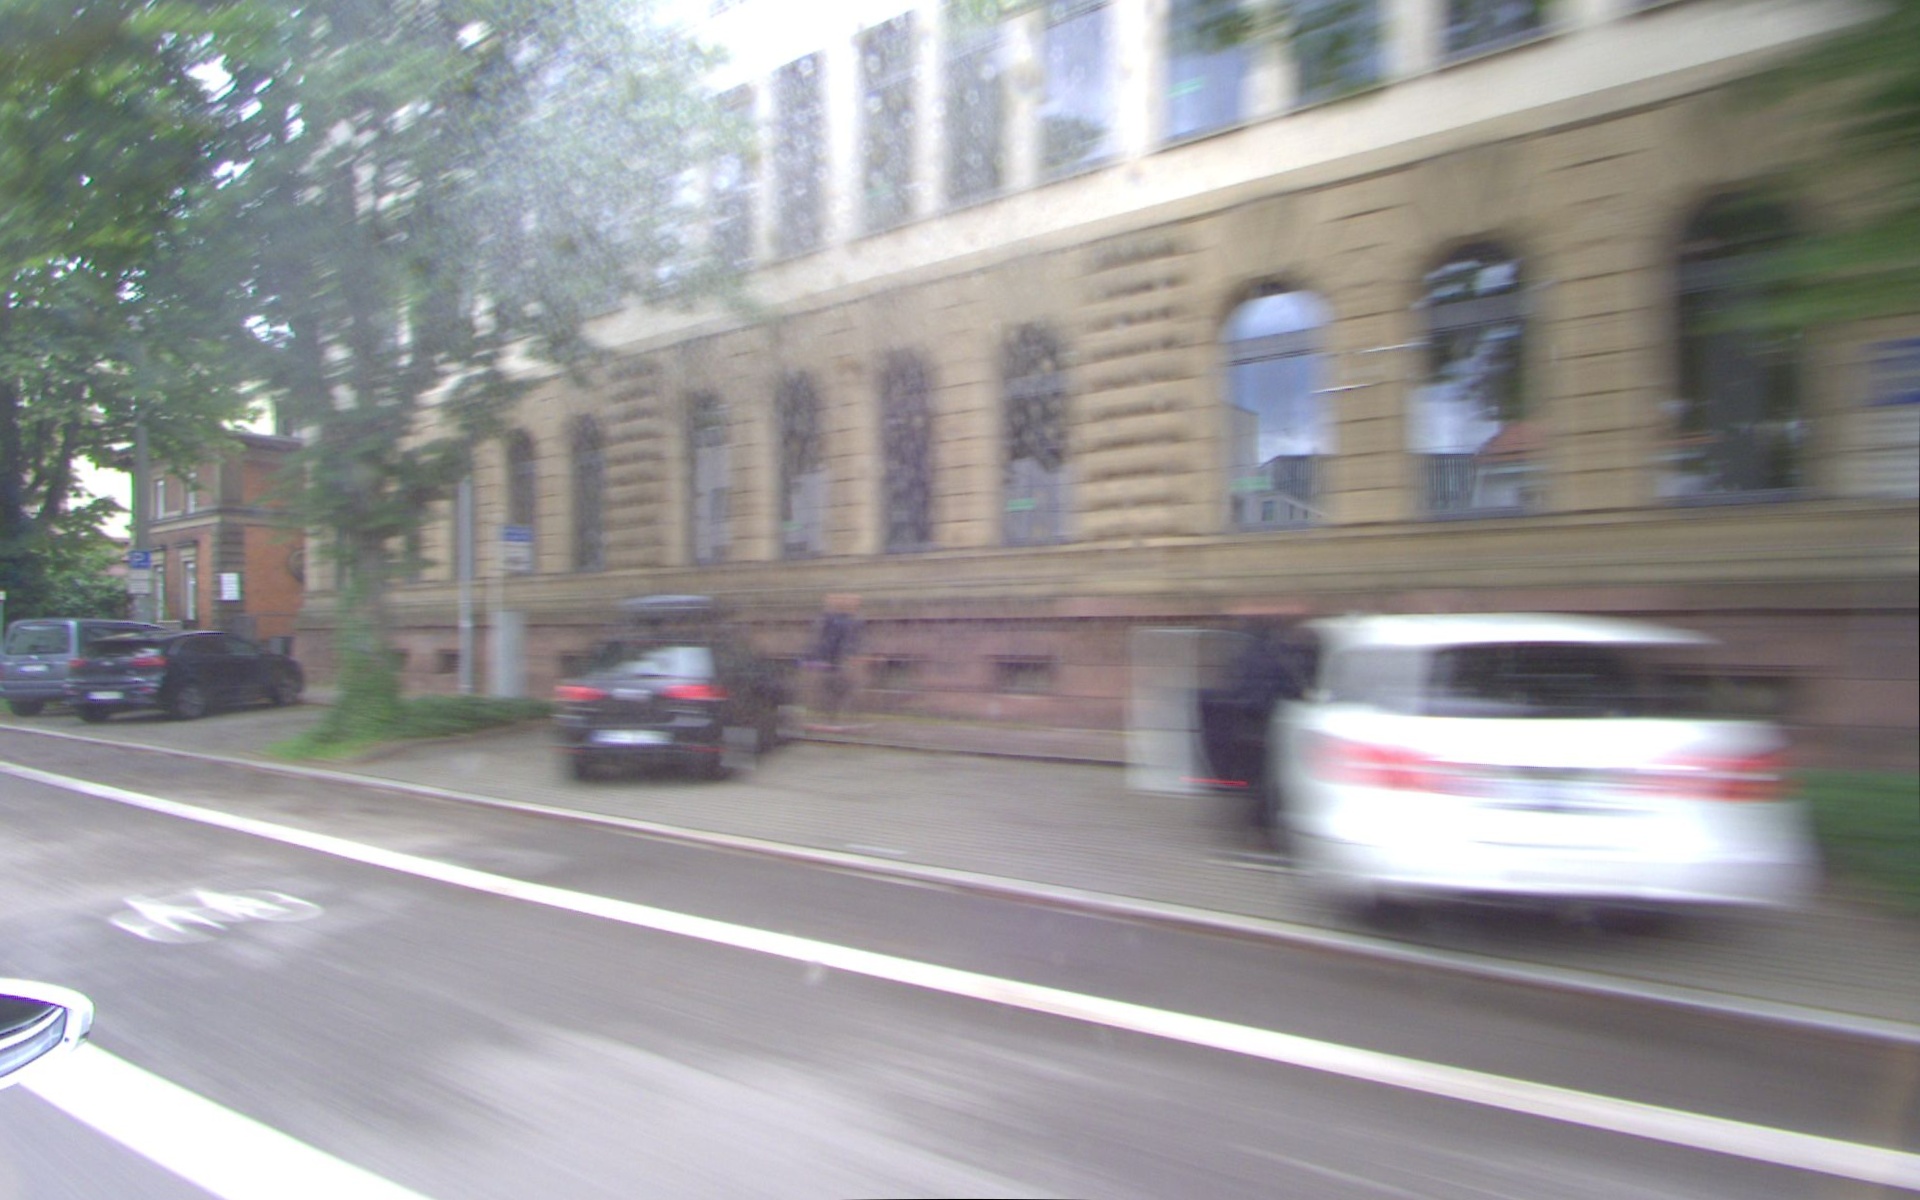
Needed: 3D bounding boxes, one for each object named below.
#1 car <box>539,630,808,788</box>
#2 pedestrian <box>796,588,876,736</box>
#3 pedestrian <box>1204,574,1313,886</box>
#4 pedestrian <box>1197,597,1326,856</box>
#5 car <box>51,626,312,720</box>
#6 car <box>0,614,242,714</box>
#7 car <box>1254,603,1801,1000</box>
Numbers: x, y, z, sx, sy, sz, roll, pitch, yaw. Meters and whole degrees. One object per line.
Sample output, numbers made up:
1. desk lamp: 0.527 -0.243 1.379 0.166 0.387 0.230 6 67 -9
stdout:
1. car: -2.951 1.063 11.312 1.720 1.420 4.332 0 -1 1
2. pedestrian: -1.629 0.790 13.196 0.741 1.864 0.676 -1 2 34
3. pedestrian: 1.822 0.753 6.124 0.603 1.773 0.685 0 -1 17
4. pedestrian: 2.012 0.817 6.739 0.632 1.647 0.591 0 -1 -10
5. car: -14.411 1.280 18.872 1.828 1.559 4.001 0 -1 -1
6. car: -16.928 1.216 20.369 1.772 1.844 3.841 0 -1 3
7. car: 2.925 0.863 6.272 1.717 1.571 4.325 0 -2 12
